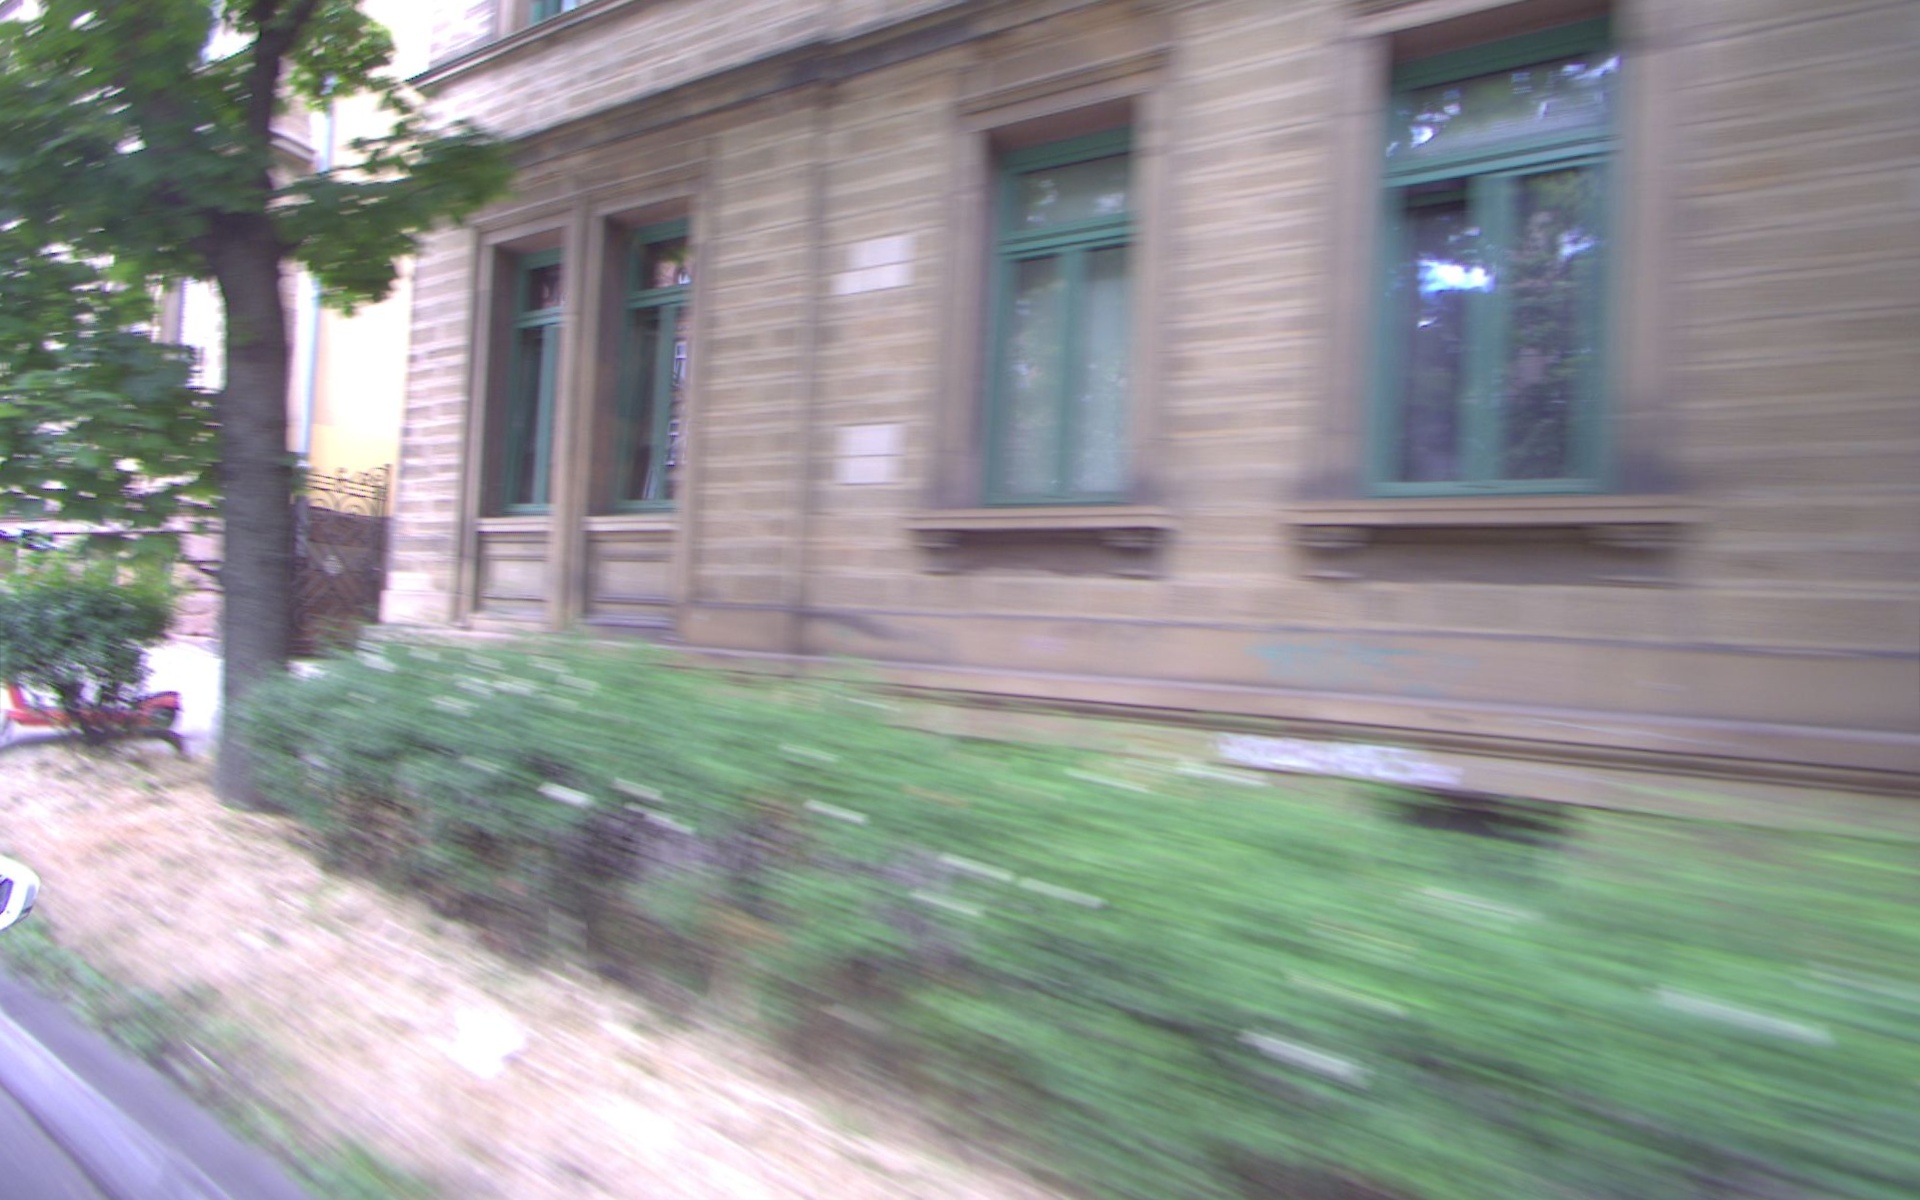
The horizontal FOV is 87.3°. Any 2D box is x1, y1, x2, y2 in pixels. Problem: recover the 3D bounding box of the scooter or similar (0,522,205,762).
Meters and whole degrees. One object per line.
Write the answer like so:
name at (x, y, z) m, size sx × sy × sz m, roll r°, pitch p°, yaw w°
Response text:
scooter or similar at (-4.522, 0.208, 5.068) m, size 0.326 × 1.133 × 1.036 m, roll 7°, pitch 1°, yaw 37°
